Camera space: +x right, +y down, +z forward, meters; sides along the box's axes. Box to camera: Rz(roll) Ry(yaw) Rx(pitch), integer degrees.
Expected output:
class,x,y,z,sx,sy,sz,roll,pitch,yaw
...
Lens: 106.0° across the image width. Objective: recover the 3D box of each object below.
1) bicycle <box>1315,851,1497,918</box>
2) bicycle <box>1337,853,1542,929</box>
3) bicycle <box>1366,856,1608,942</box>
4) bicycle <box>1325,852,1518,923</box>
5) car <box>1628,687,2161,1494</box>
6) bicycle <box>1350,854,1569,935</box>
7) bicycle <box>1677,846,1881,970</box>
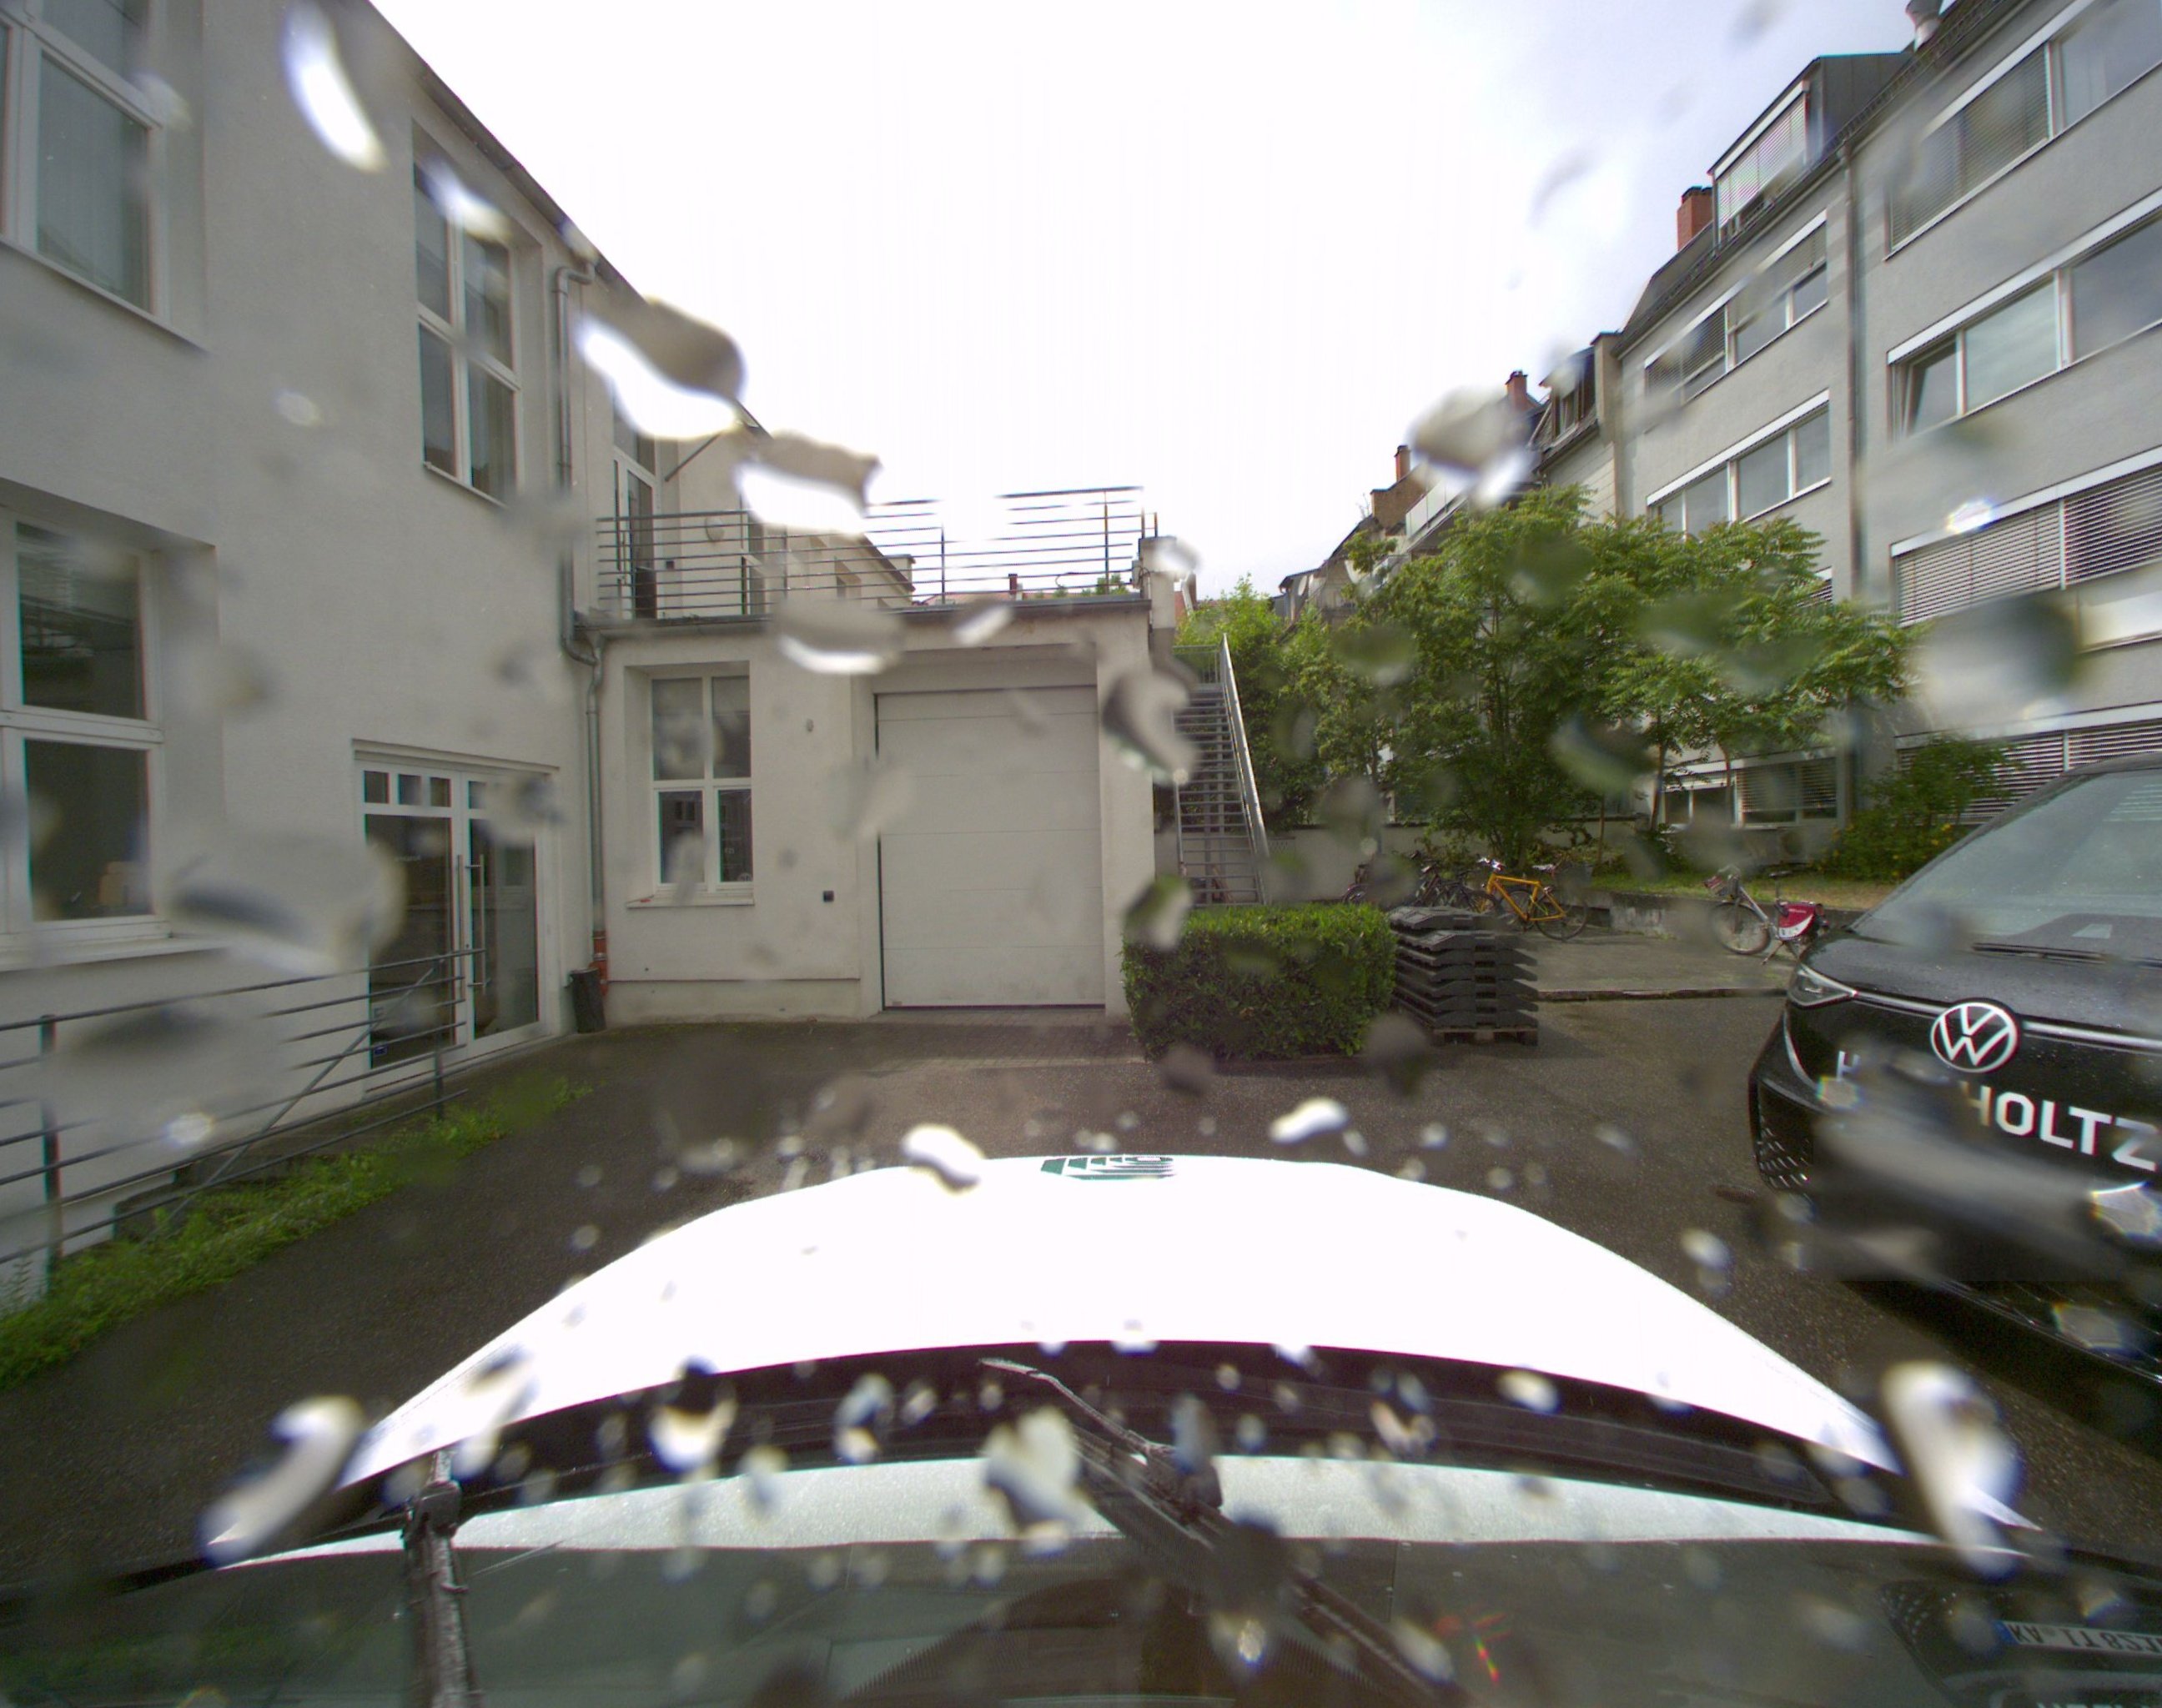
class,x,y,z,sx,sy,sz,roll,pitch,yaw
bicycle,5.496,0.510,13.887,2.833,1.078,0.690,-1,1,1
bicycle,5.446,0.550,12.464,2.833,1.078,0.690,-1,1,1
bicycle,5.406,0.593,10.962,2.913,1.078,0.690,-1,1,1
bicycle,5.472,0.530,13.179,2.833,1.078,0.690,-1,1,1
car,4.746,0.412,2.524,4.698,1.833,2.109,-3,0,-3
bicycle,5.412,0.571,11.742,2.833,1.078,0.690,-1,1,1
bicycle,7.316,0.515,8.662,0.612,1.158,1.721,-2,0,-2
